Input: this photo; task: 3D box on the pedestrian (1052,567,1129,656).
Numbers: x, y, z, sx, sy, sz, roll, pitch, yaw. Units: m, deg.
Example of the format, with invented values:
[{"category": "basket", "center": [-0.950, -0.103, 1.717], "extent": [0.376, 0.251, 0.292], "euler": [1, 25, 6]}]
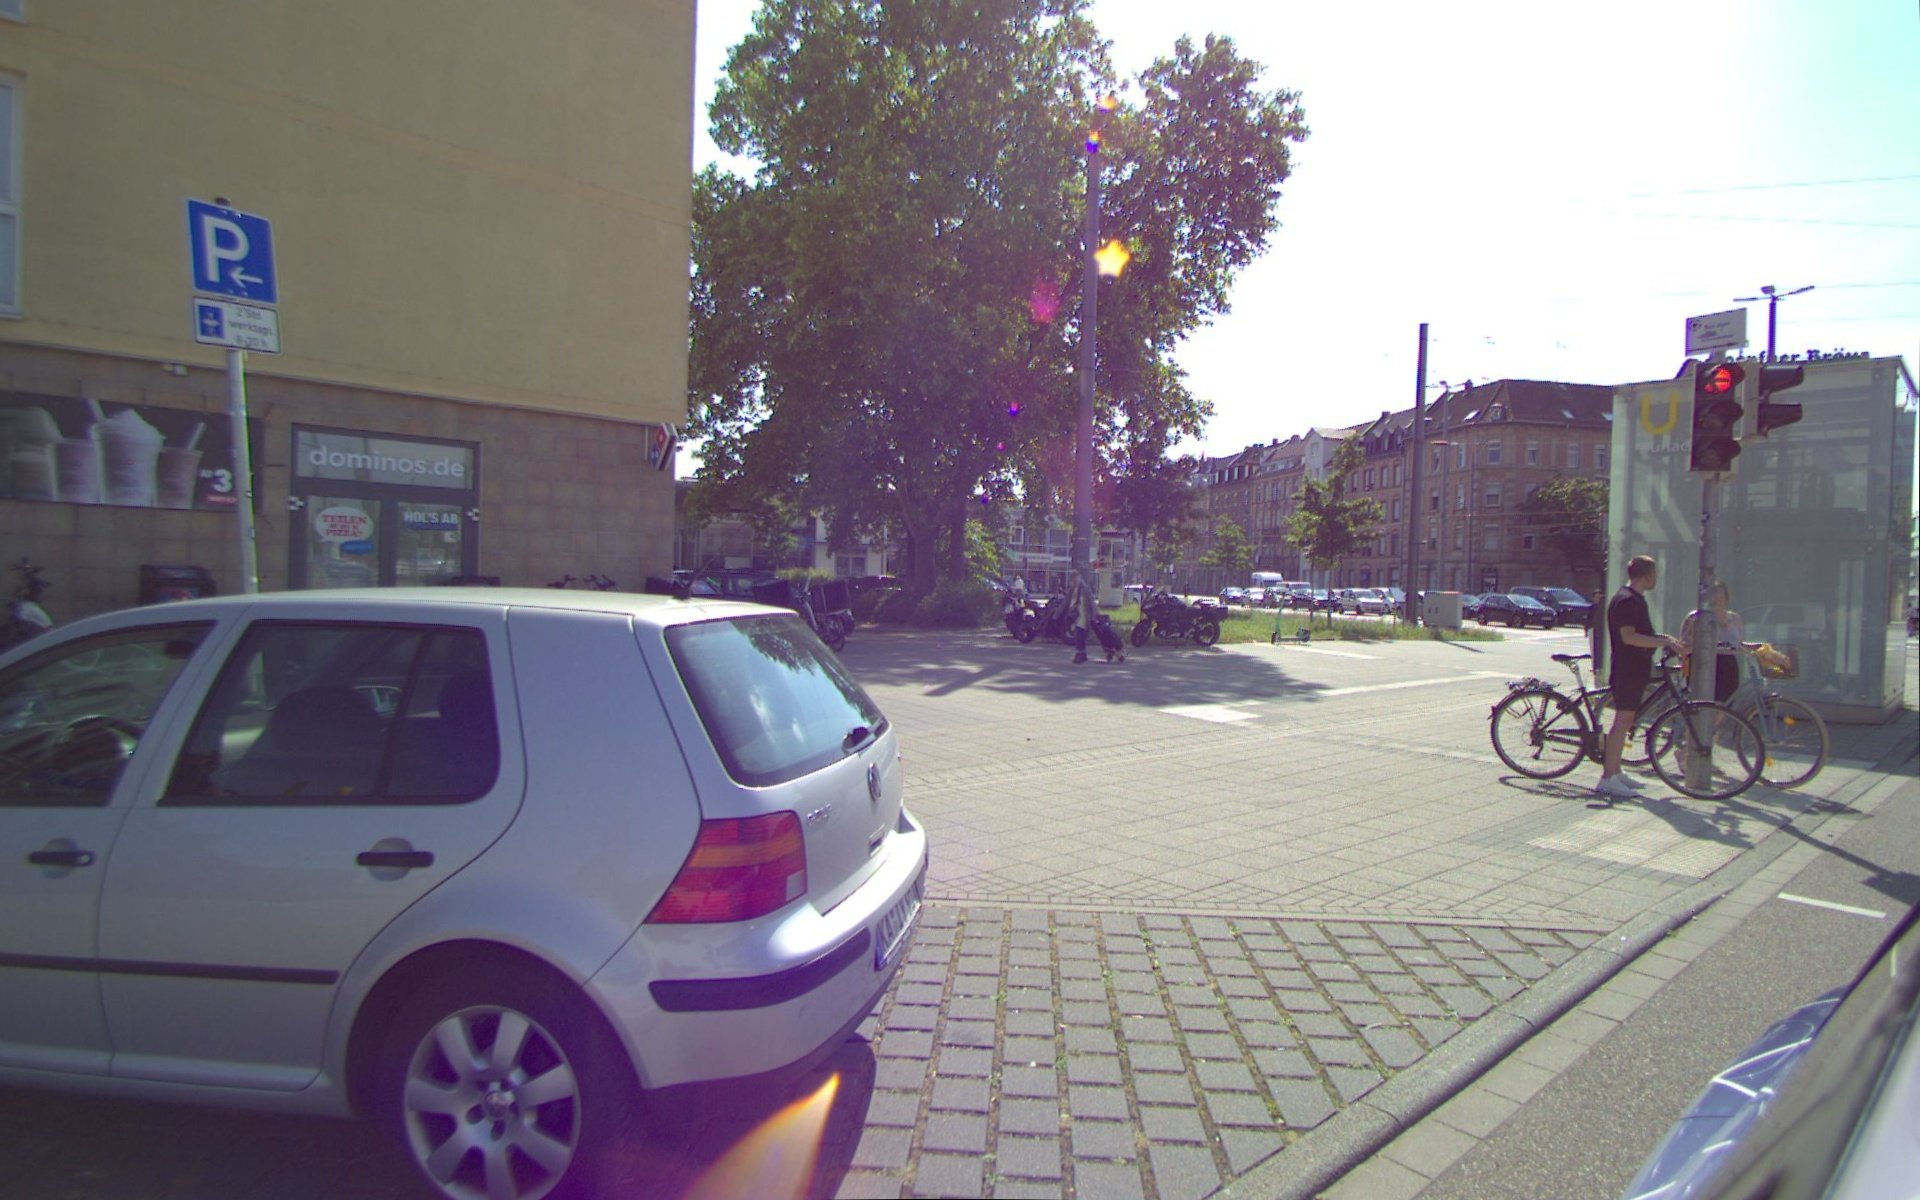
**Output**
[{"category": "pedestrian", "center": [2.180, 0.185, 16.912], "extent": [1.098, 1.421, 0.656], "euler": [1, 2, -41]}]

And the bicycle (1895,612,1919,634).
[{"category": "bicycle", "center": [47.538, 1.167, 49.834], "extent": [0.702, 1.028, 2.024], "euler": [4, 0, -27]}]

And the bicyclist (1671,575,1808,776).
[{"category": "bicyclist", "center": [6.504, 0.593, 8.457], "extent": [0.718, 1.592, 0.614], "euler": [0, 1, -23]}]

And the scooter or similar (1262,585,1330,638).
[{"category": "scooter or similar", "center": [7.537, 0.257, 22.688], "extent": [1.335, 1.133, 0.518], "euler": [2, 1, -13]}]

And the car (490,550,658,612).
[{"category": "car", "center": [-10.767, -0.526, 28.352], "extent": [3.928, 1.458, 1.889], "euler": [4, 0, -40]}]

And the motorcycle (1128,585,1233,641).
[{"category": "motorcycle", "center": [4.499, 0.270, 20.683], "extent": [1.995, 1.075, 0.642], "euler": [2, 1, -16]}]

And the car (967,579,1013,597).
[{"category": "car", "center": [2.179, -0.914, 75.620], "extent": [1.798, 1.210, 4.008], "euler": [4, 0, -24]}]

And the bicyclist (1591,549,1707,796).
[{"category": "bicyclist", "center": [5.178, 0.507, 7.605], "extent": [0.615, 1.756, 0.575], "euler": [1, 1, 43]}]

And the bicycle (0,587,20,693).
[{"category": "bicycle", "center": [-9.306, 0.354, 8.726], "extent": [1.726, 0.927, 0.583], "euler": [0, 3, -40]}]

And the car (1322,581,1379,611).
[{"category": "car", "center": [26.866, -0.282, 69.793], "extent": [1.862, 1.941, 4.206], "euler": [1, 0, -7]}]

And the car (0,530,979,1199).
[{"category": "car", "center": [-2.021, 0.596, 3.225], "extent": [3.936, 1.458, 1.808], "euler": [0, 0, 11]}]

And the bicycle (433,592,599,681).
[{"category": "bicycle", "center": [-5.294, 0.408, 12.118], "extent": [1.723, 0.977, 0.584], "euler": [0, 2, -36]}]

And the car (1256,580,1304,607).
[{"category": "car", "center": [23.251, -0.470, 73.668], "extent": [1.776, 1.869, 4.206], "euler": [1, 0, -7]}]

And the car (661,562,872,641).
[{"category": "car", "center": [-3.954, 0.054, 21.050], "extent": [4.020, 1.489, 1.657], "euler": [1, -2, -40]}]

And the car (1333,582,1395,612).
[{"category": "car", "center": [24.409, -0.190, 61.322], "extent": [1.623, 1.761, 4.206], "euler": [1, 0, -7]}]

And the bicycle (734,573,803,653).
[{"category": "bicycle", "center": [-3.270, 0.197, 17.164], "extent": [0.572, 1.234, 1.759], "euler": [1, 2, -30]}]

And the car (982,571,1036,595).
[{"category": "car", "center": [3.772, -1.321, 78.149], "extent": [3.989, 1.638, 1.796], "euler": [3, 0, 45]}]

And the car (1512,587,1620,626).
[{"category": "car", "center": [28.948, 0.273, 48.532], "extent": [1.928, 1.607, 4.723], "euler": [1, 2, -6]}]

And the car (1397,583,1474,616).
[{"category": "car", "center": [25.134, -0.032, 53.653], "extent": [1.862, 1.608, 4.005], "euler": [1, 0, -6]}]

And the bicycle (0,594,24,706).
[{"category": "bicycle", "center": [-8.926, 0.428, 8.364], "extent": [1.726, 0.927, 0.583], "euler": [0, 3, -42]}]

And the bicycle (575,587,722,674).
[{"category": "bicycle", "center": [-4.048, 0.375, 13.192], "extent": [1.723, 1.055, 0.584], "euler": [0, 2, -34]}]

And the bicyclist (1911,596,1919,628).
[{"category": "bicyclist", "center": [47.596, 0.611, 49.781], "extent": [0.702, 1.506, 0.952], "euler": [4, -1, -27]}]

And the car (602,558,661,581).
[{"category": "car", "center": [-24.555, -2.264, 75.591], "extent": [3.917, 1.526, 2.004], "euler": [1, 1, -25]}]

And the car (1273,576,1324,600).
[{"category": "car", "center": [26.024, -0.934, 78.008], "extent": [2.150, 1.701, 5.031], "euler": [1, 1, -1]}]

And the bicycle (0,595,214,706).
[{"category": "bicycle", "center": [-7.936, 0.437, 9.275], "extent": [1.722, 0.927, 0.584], "euler": [1, 2, -33]}]

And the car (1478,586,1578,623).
[{"category": "car", "center": [26.062, 0.194, 46.630], "extent": [1.859, 1.608, 4.215], "euler": [1, 0, -6]}]

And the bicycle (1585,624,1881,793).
[{"category": "bicycle", "center": [6.287, 0.816, 8.360], "extent": [0.739, 1.144, 1.800], "euler": [0, 1, -23]}]

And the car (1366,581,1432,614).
[{"category": "car", "center": [27.174, -0.171, 62.856], "extent": [1.862, 1.941, 4.206], "euler": [1, 0, -7]}]

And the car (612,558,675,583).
[{"category": "car", "center": [-22.073, -2.073, 70.505], "extent": [3.917, 1.571, 2.004], "euler": [1, 1, -25]}]

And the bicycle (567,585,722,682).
[{"category": "bicycle", "center": [-3.897, 0.396, 12.532], "extent": [1.721, 1.098, 0.585], "euler": [1, 4, -28]}]

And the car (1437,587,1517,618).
[{"category": "car", "center": [28.216, 0.114, 55.358], "extent": [1.861, 1.608, 4.006], "euler": [1, 0, -9]}]

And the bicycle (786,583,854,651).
[{"category": "bicycle", "center": [-2.546, 0.282, 18.246], "extent": [0.572, 1.099, 1.759], "euler": [1, 2, -30]}]

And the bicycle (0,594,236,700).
[{"category": "bicycle", "center": [-8.108, 0.427, 9.818], "extent": [1.722, 0.927, 0.584], "euler": [1, 2, -33]}]

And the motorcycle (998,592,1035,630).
[{"category": "motorcycle", "center": [1.390, 0.252, 24.676], "extent": [0.630, 0.852, 2.032], "euler": [2, 1, 10]}]

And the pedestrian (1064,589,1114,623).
[{"category": "pedestrian", "center": [3.624, 0.177, 28.489], "extent": [1.156, 0.903, 0.821], "euler": [1, 2, -43]}]

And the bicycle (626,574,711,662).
[{"category": "bicycle", "center": [-4.387, 0.241, 15.137], "extent": [0.531, 1.200, 1.889], "euler": [1, 1, -38]}]

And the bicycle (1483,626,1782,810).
[{"category": "bicycle", "center": [4.997, 0.810, 7.607], "extent": [1.791, 1.144, 0.575], "euler": [2, 1, 44]}]

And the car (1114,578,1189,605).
[{"category": "car", "center": [12.563, -0.539, 66.456], "extent": [4.505, 1.454, 1.447], "euler": [3, 0, -9]}]

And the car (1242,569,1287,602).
[{"category": "car", "center": [26.145, -1.208, 87.205], "extent": [2.175, 2.608, 5.870], "euler": [3, 0, 2]}]

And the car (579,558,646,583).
[{"category": "car", "center": [-22.948, -1.957, 66.814], "extent": [3.916, 1.388, 2.004], "euler": [3, 0, -24]}]
